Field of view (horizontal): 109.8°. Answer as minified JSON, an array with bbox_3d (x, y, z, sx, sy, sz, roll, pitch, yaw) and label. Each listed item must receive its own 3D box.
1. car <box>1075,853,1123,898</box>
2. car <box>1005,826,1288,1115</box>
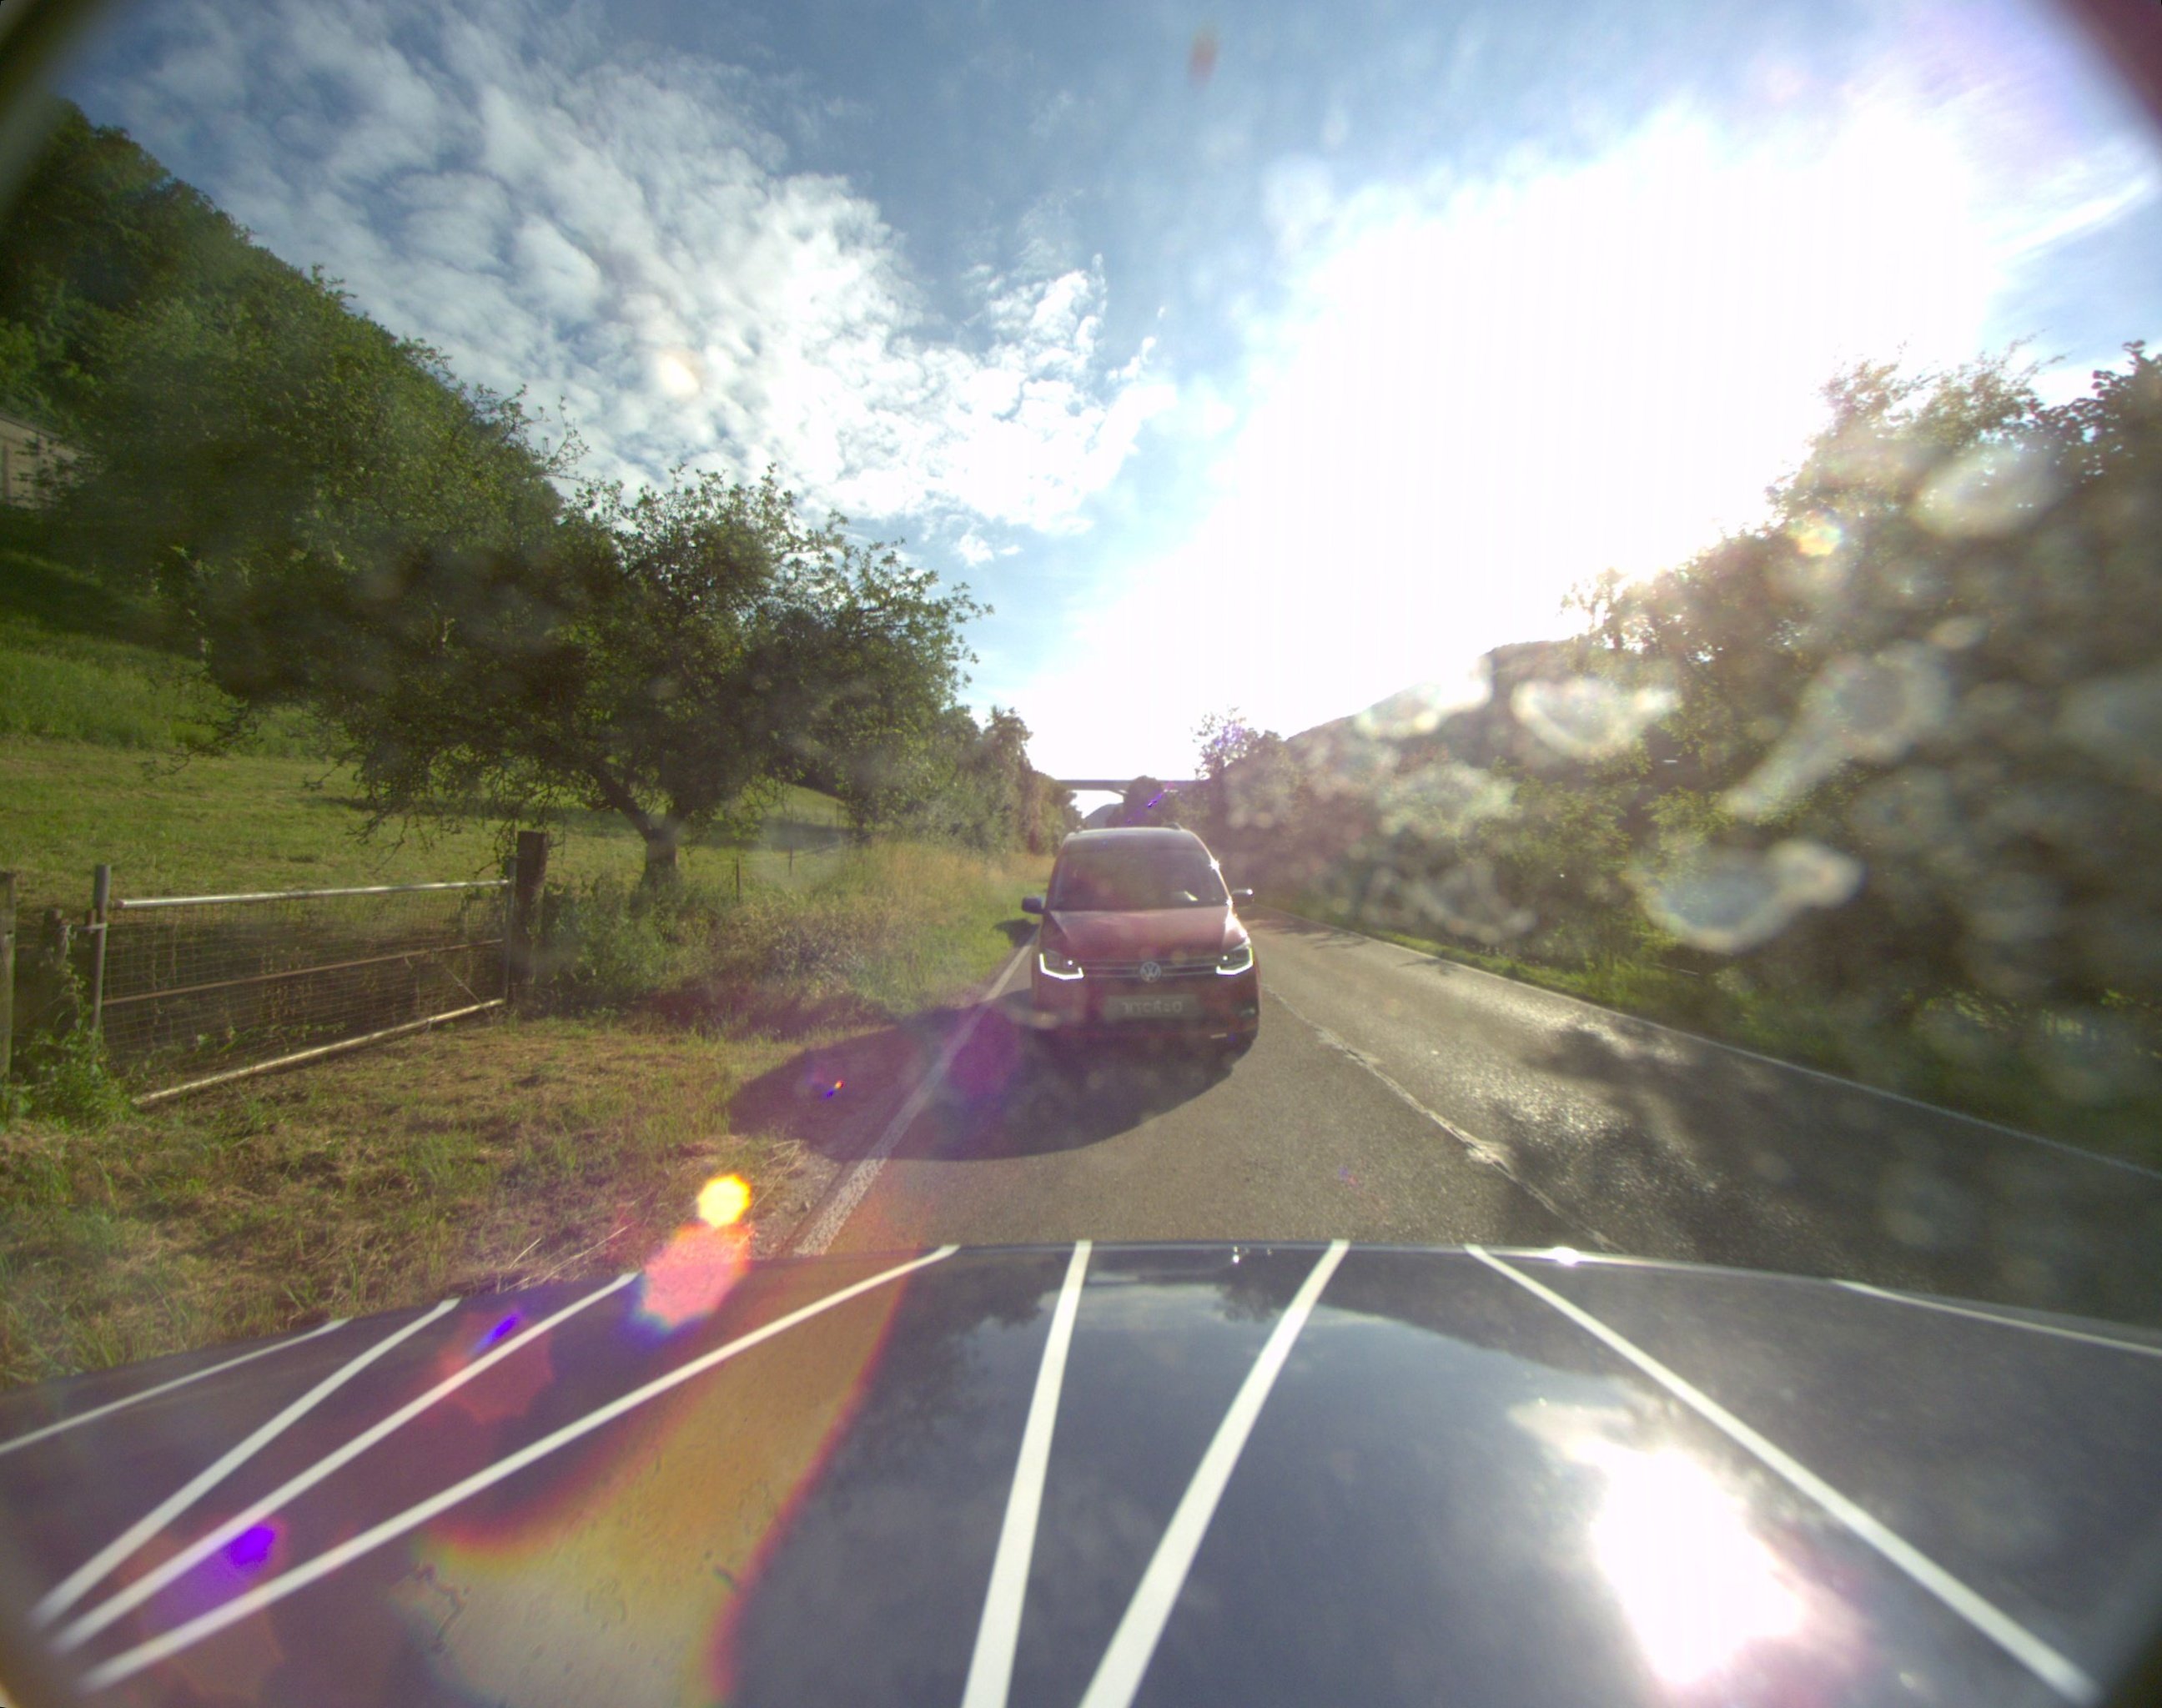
[{"bbox_3d":[0.733,0.820,31.295,1.753,1.608,4.288,-3,1,1],"label":"car"},{"bbox_3d":[0.472,0.743,7.078,1.753,1.799,4.288,-3,1,1],"label":"car"}]
